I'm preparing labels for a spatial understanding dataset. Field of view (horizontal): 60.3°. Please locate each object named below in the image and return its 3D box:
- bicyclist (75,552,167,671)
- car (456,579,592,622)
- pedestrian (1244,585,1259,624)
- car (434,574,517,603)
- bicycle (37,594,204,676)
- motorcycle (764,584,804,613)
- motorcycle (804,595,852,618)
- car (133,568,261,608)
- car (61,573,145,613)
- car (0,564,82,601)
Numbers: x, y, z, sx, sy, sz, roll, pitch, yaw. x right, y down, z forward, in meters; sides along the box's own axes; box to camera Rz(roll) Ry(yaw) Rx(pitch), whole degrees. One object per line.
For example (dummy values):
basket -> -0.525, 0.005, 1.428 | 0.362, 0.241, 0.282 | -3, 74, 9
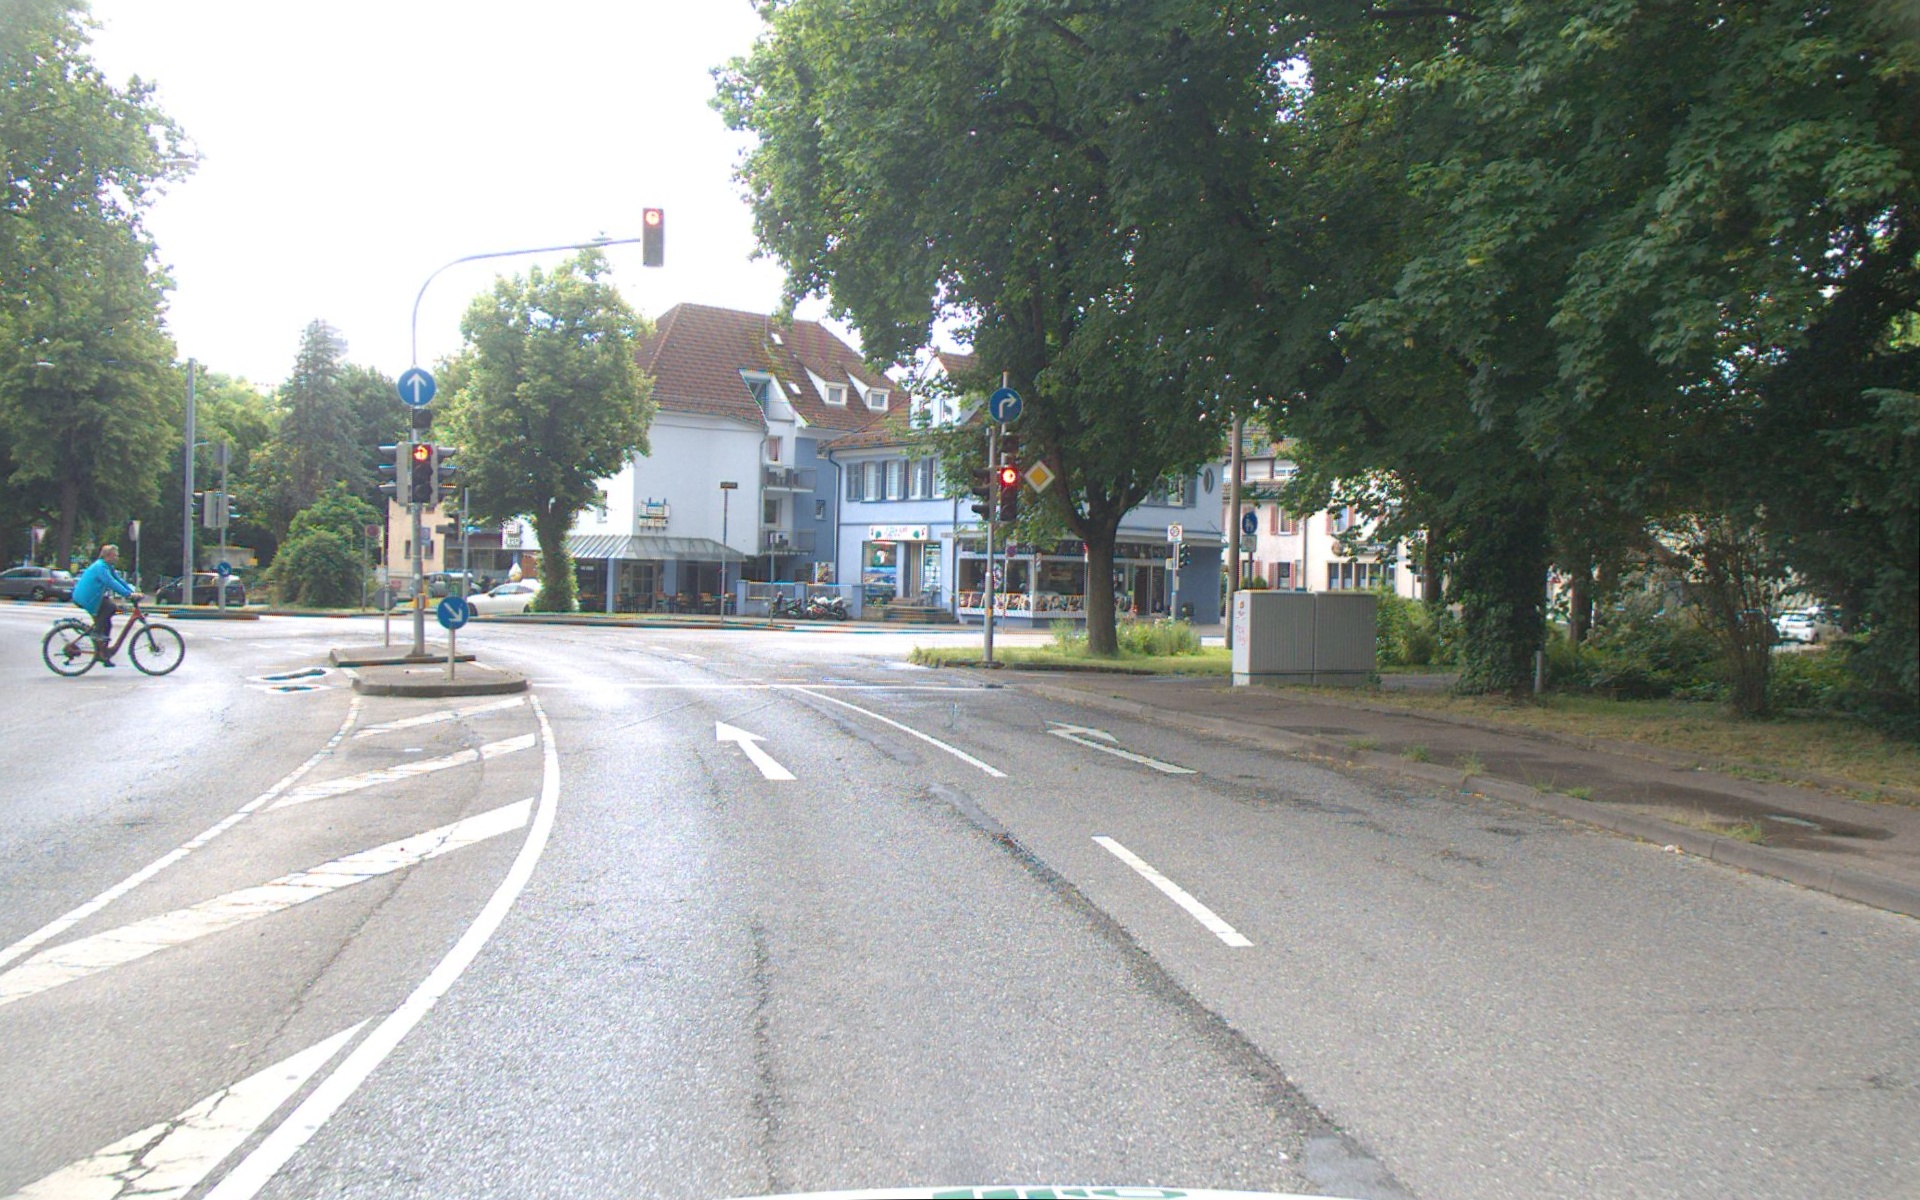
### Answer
bicyclist -> -11.771, 0.160, 23.241 | 1.085, 1.627, 0.933 | 1, 0, -25
car -> -16.034, -0.007, 60.830 | 4.481, 1.544, 2.001 | 0, 1, 19
pedestrian -> 11.992, 0.172, 68.068 | 0.402, 1.579, 0.492 | 0, 0, -44
car -> -25.807, -0.627, 88.153 | 3.954, 1.512, 1.738 | 0, 1, -36
bicycle -> -11.765, 0.481, 23.256 | 2.044, 1.101, 0.933 | 1, 0, -26
motorcycle -> -7.182, -0.046, 67.429 | 1.463, 1.126, 0.561 | 0, 6, 17
motorcycle -> -5.298, 0.263, 66.273 | 1.798, 0.862, 0.561 | 0, 6, 21
car -> -30.445, -0.482, 66.006 | 4.481, 1.544, 2.001 | 0, 1, 19
car -> -39.651, -0.347, 76.613 | 1.954, 1.803, 3.997 | 0, 1, -3
car -> -41.245, -0.788, 73.107 | 3.902, 1.601, 2.002 | 0, 1, 12
